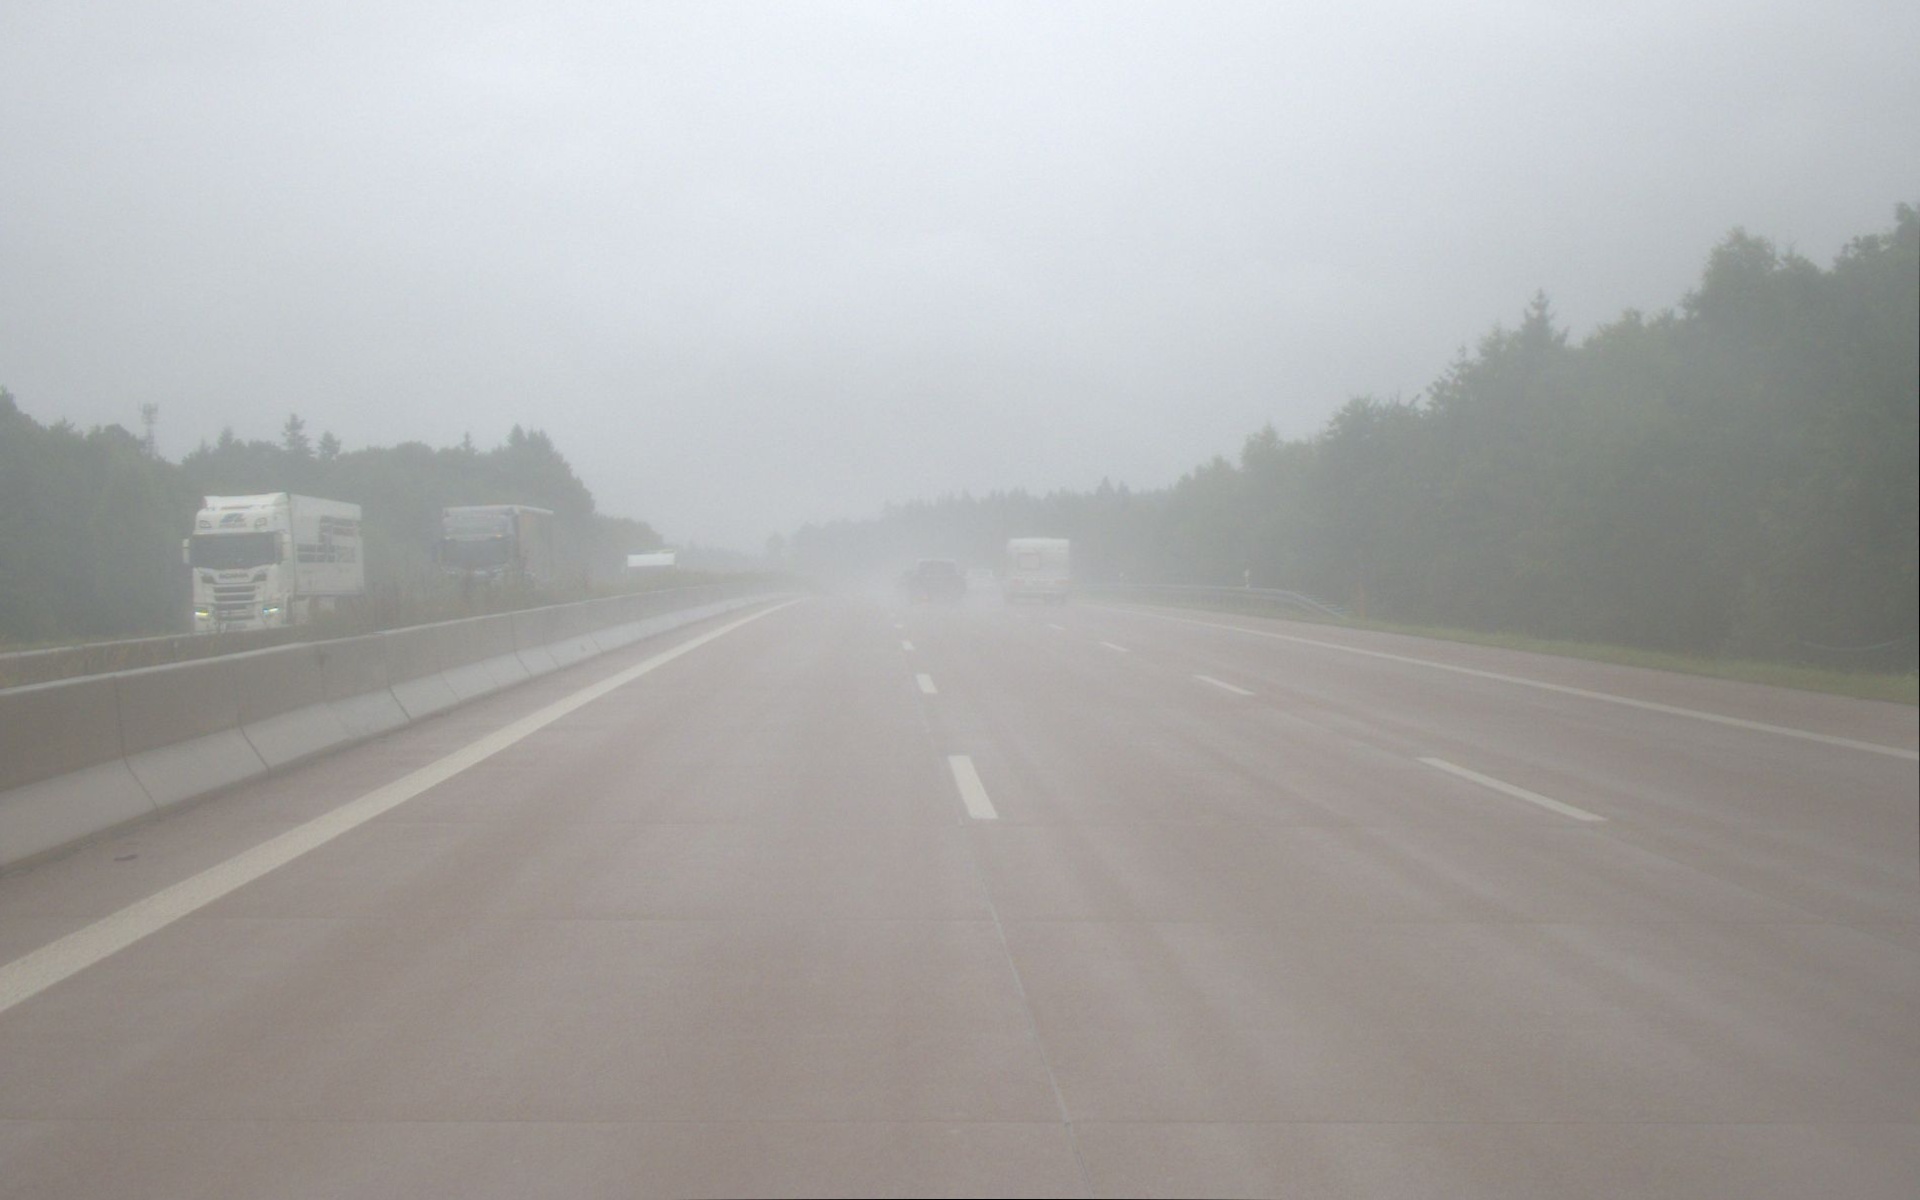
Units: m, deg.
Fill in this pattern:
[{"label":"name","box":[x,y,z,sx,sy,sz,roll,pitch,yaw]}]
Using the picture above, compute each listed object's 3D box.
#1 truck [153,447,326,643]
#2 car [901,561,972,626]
[{"label":"truck","box":[-20.625,-1.560,98.898,3.419,5.360,8.158,1,0,-2]},{"label":"car","box":[-0.790,-0.249,113.214,2.173,1.974,4.130,3,1,-1]}]
